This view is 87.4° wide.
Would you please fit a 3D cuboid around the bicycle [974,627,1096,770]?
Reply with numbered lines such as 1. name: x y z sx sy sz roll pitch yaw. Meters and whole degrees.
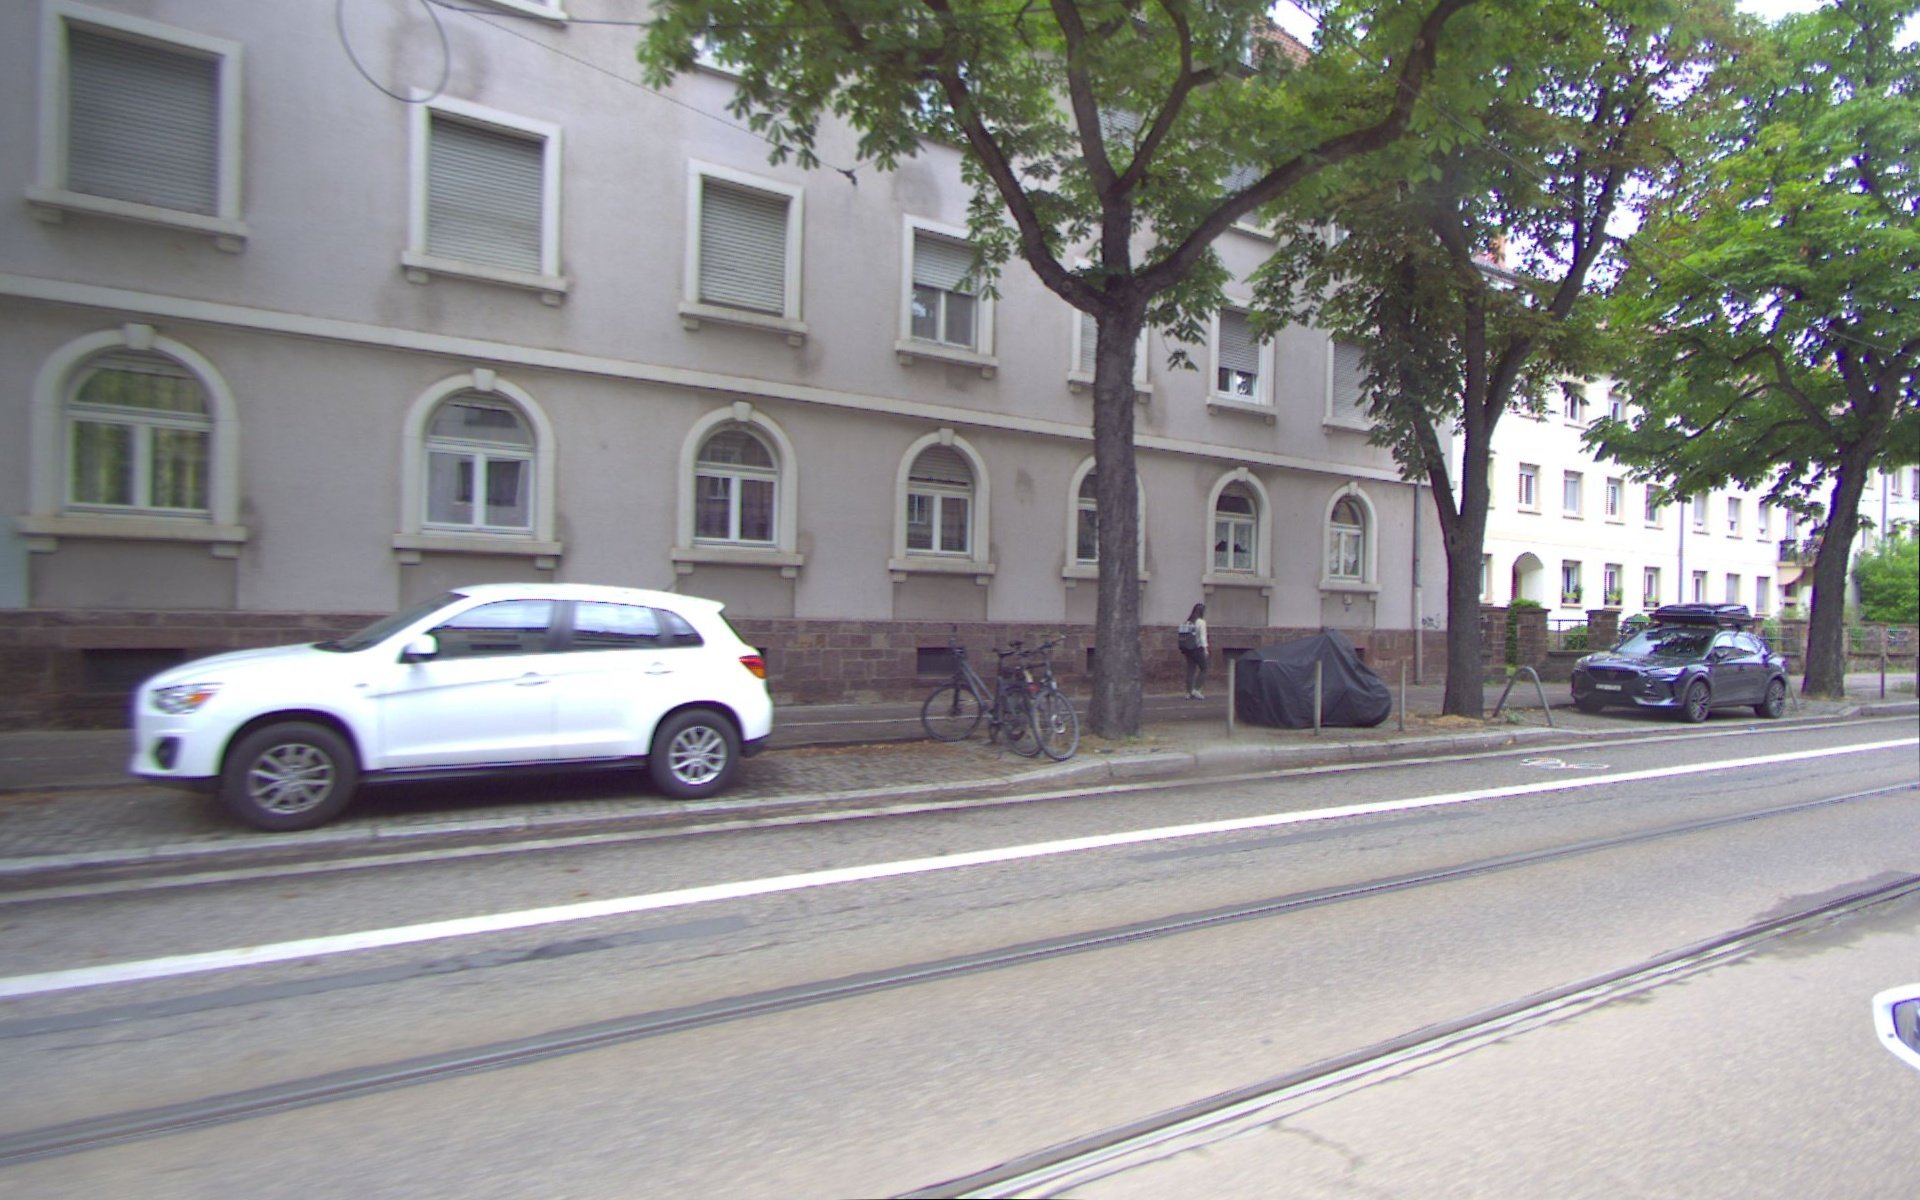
1. bicycle: 0.728 0.946 10.315 0.642 1.209 1.743 -4 3 -15

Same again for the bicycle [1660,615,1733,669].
1. bicycle: 19.751 1.117 26.925 2.116 1.400 0.789 1 0 -31

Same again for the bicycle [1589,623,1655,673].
1. bicycle: 18.573 1.336 28.160 2.117 1.315 0.744 1 0 -32

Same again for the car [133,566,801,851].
1. car: -3.564 0.674 7.829 4.178 1.677 1.887 1 0 -32

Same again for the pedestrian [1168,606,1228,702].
1. pedestrian: 3.792 0.854 16.008 0.714 1.487 0.562 1 0 -30

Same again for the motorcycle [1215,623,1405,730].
1. motorcycle: 4.604 0.995 13.241 2.285 1.305 0.863 2 0 -17

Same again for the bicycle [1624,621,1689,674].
1. bicycle: 19.107 1.296 27.535 2.116 1.400 0.624 1 0 -31

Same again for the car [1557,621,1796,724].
1. car: 12.384 1.178 17.318 4.187 1.531 1.769 1 0 -30
